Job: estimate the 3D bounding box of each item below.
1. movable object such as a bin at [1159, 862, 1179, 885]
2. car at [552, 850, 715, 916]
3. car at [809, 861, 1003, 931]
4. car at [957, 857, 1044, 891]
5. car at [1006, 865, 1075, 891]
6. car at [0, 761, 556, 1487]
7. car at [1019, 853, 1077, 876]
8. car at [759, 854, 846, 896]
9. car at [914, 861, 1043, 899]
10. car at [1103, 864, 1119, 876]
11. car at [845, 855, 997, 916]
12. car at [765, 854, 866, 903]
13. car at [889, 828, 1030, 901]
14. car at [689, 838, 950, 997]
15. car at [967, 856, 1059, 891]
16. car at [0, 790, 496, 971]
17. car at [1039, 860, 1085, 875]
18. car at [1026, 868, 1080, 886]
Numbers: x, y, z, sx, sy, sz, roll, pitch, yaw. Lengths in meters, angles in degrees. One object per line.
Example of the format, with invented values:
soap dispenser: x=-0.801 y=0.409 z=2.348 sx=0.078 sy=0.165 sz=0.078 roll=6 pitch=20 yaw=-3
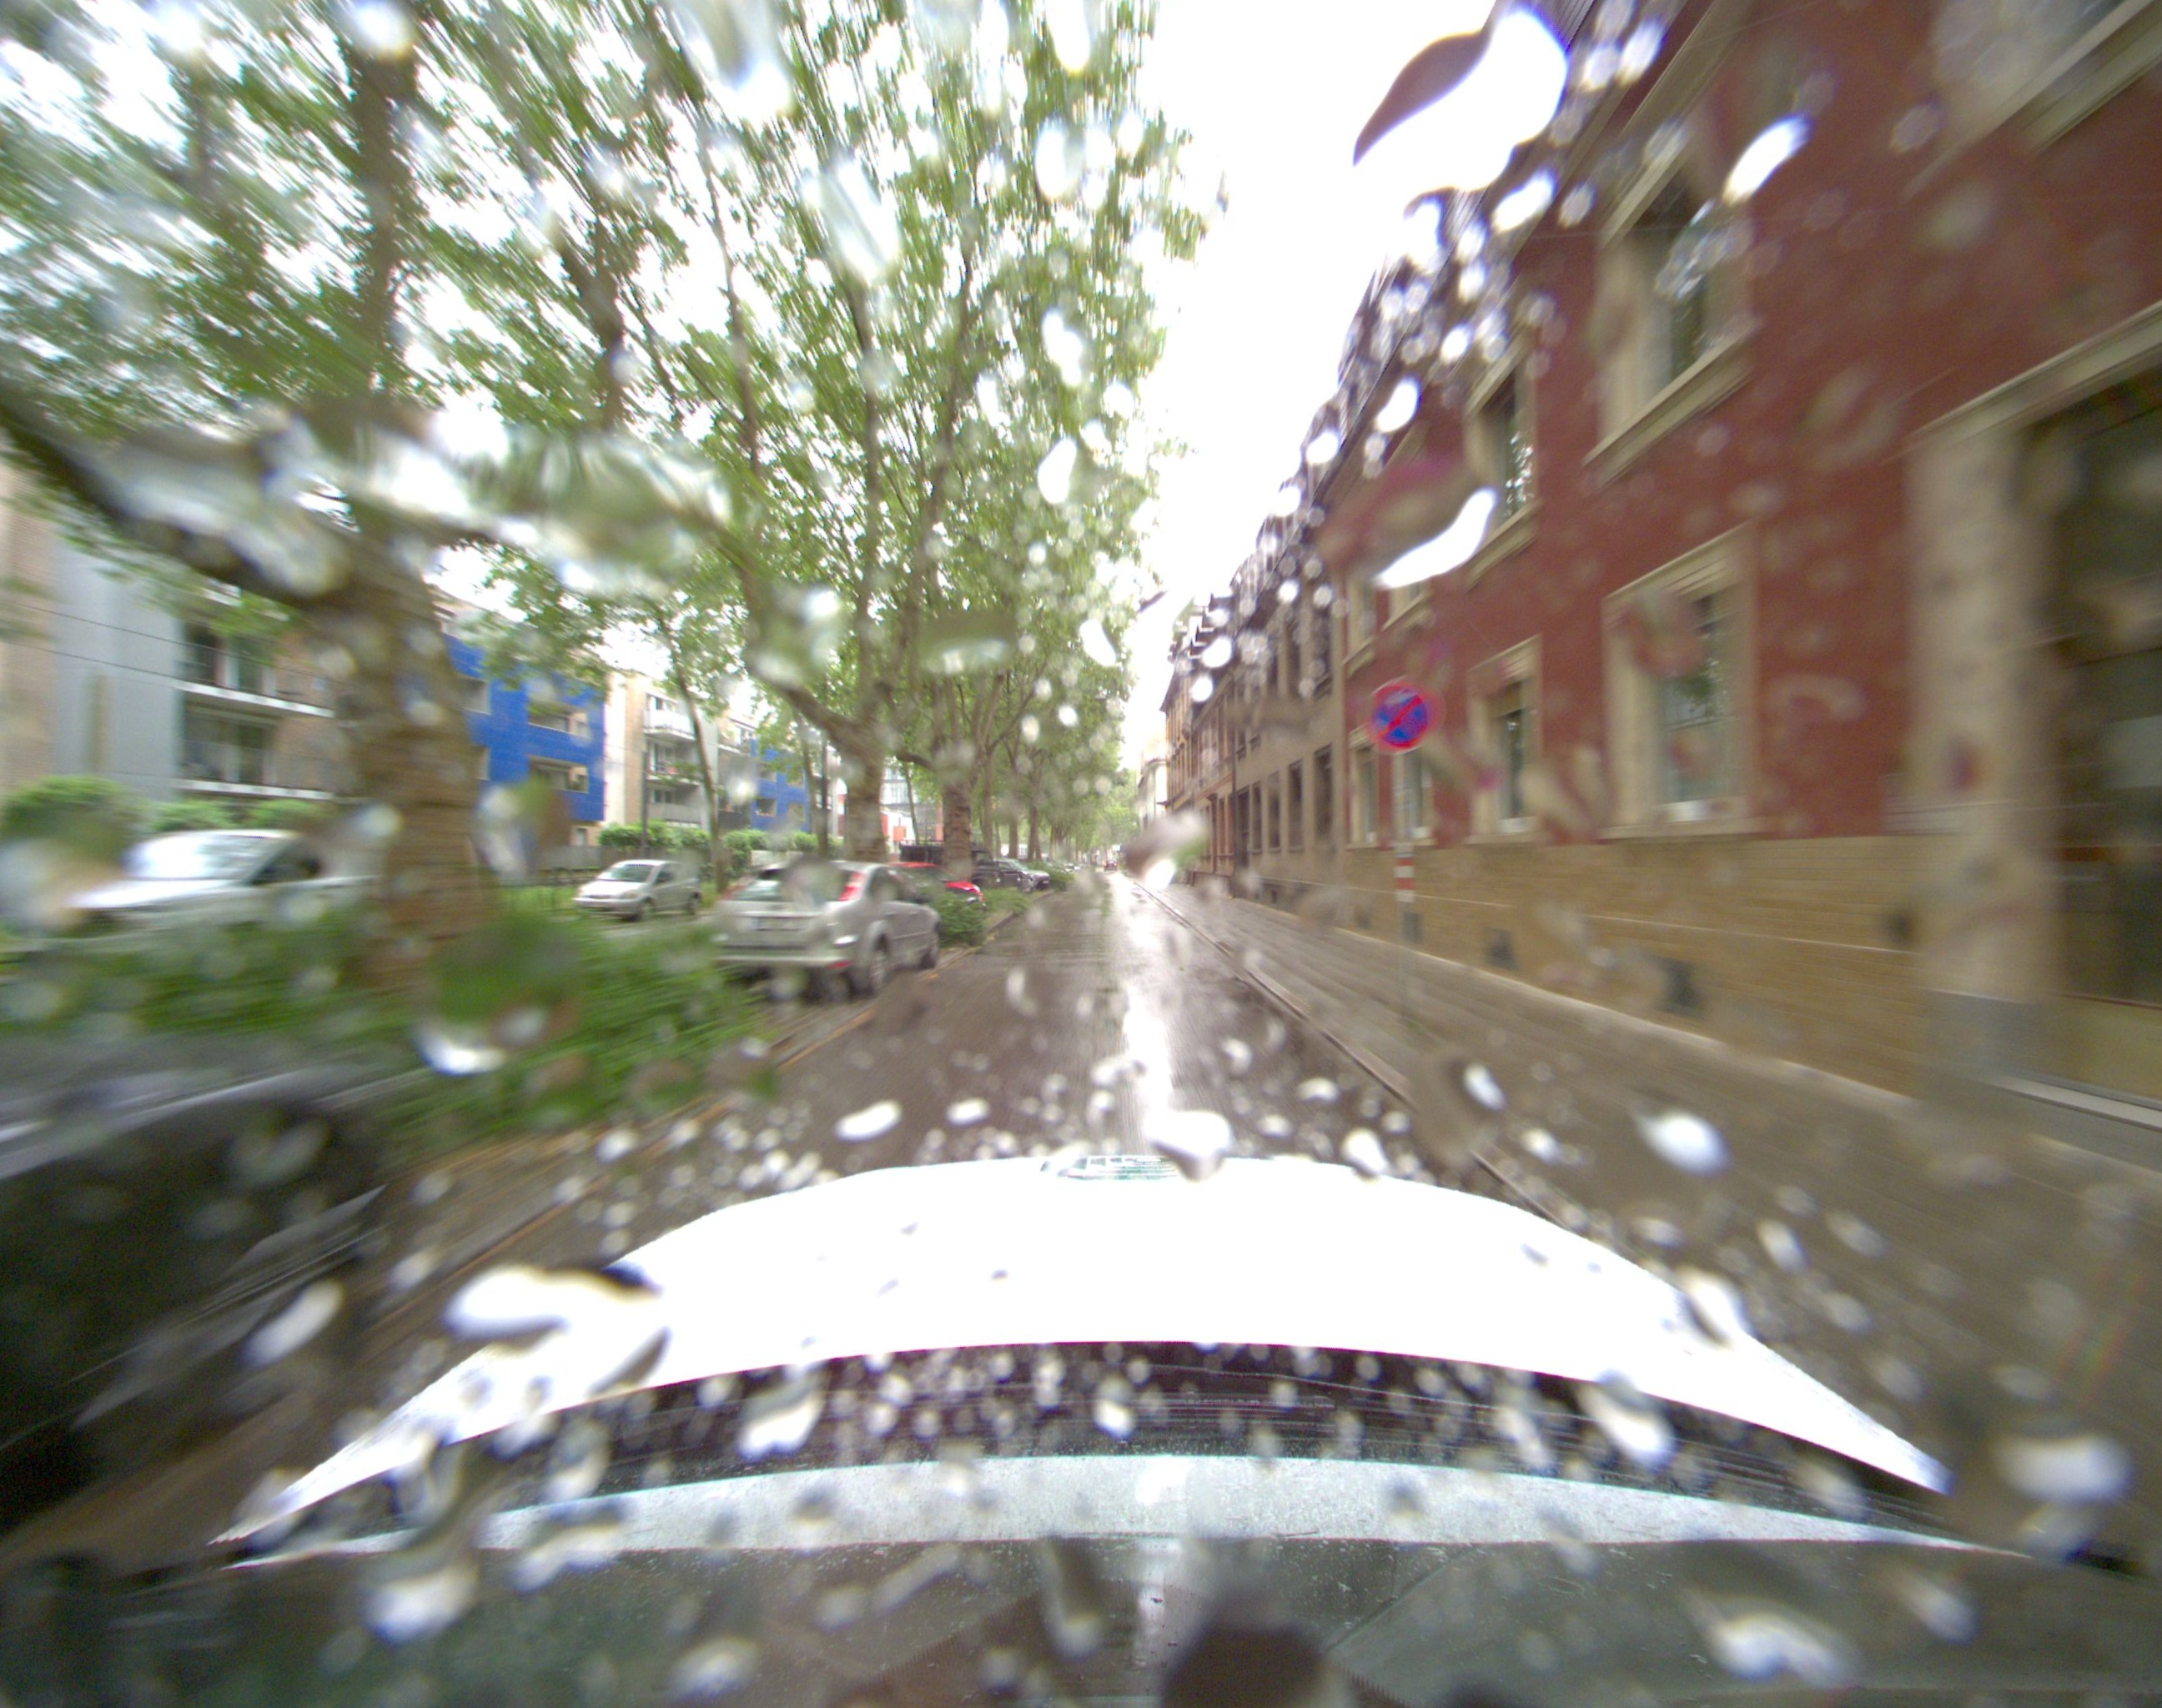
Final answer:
movable object such as a bin: x=5.169 y=1.139 z=47.976 sx=1.017 sy=1.302 sz=1.367 roll=-3 pitch=-1 yaw=1
car: x=-11.552 y=0.719 z=21.421 sx=1.898 sy=1.534 sz=4.215 roll=1 pitch=-1 yaw=0
car: x=-3.938 y=0.892 z=18.306 sx=3.996 sy=1.435 sz=1.792 roll=-1 pitch=-1 yaw=26
car: x=-3.562 y=0.874 z=36.146 sx=3.469 sy=1.468 sz=1.651 roll=-1 pitch=-1 yaw=23
car: x=-2.748 y=1.602 z=55.269 sx=4.361 sy=1.645 sz=1.883 roll=-2 pitch=-2 yaw=33
car: x=-3.163 y=0.518 z=0.986 sx=1.889 sy=1.485 sz=4.623 roll=2 pitch=-1 yaw=2
car: x=-3.064 y=0.993 z=75.807 sx=5.065 sy=1.978 sz=2.116 roll=-2 pitch=-2 yaw=32
car: x=-11.098 y=0.815 z=32.778 sx=1.898 sy=1.534 sz=4.420 roll=1 pitch=-1 yaw=0
car: x=-3.866 y=0.950 z=30.567 sx=4.601 sy=1.326 sz=1.858 roll=-1 pitch=-1 yaw=29
car: x=3.997 y=2.156 z=109.339 sx=1.986 sy=1.640 sz=4.001 roll=1 pitch=-1 yaw=1
car: x=-4.099 y=0.785 z=20.838 sx=3.459 sy=1.436 sz=1.792 roll=-1 pitch=-1 yaw=29
car: x=-8.337 y=0.768 z=25.933 sx=1.827 sy=1.420 sz=4.000 roll=1 pitch=-1 yaw=1
car: x=-4.166 y=0.369 z=27.669 sx=4.600 sy=2.283 sz=2.024 roll=-1 pitch=-1 yaw=35
car: x=-2.918 y=0.655 z=10.134 sx=1.723 sy=1.515 sz=4.208 roll=2 pitch=-1 yaw=2
car: x=-3.246 y=0.883 z=38.792 sx=4.013 sy=1.537 sz=1.846 roll=1 pitch=-1 yaw=32
car: x=-11.637 y=0.337 z=12.040 sx=2.048 sy=1.997 sz=5.430 roll=2 pitch=-1 yaw=-2
car: x=-1.993 y=1.449 z=84.703 sx=4.502 sy=1.482 sz=1.786 roll=-2 pitch=-2 yaw=32
car: x=-2.369 y=1.929 z=69.074 sx=4.262 sy=1.437 sz=1.758 roll=1 pitch=0 yaw=28
